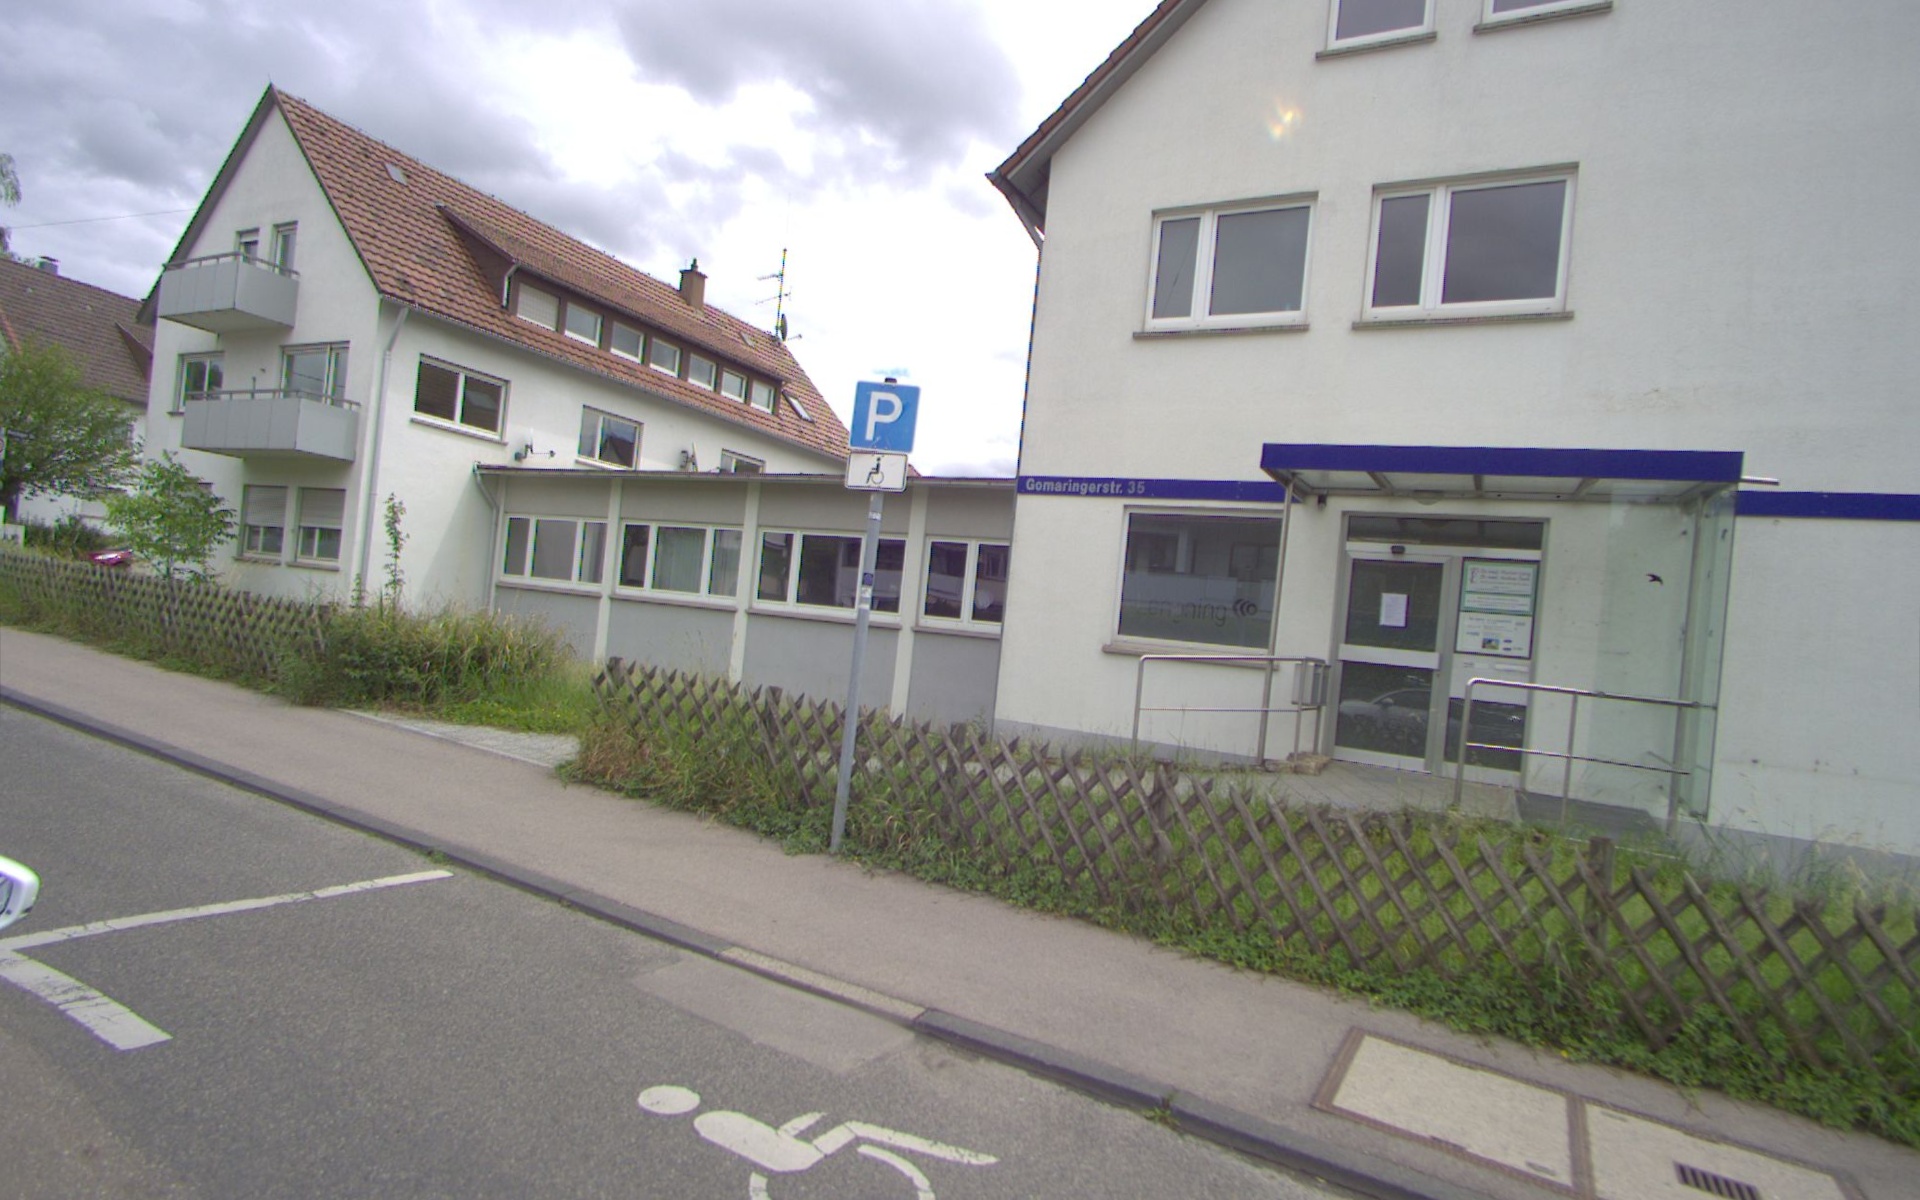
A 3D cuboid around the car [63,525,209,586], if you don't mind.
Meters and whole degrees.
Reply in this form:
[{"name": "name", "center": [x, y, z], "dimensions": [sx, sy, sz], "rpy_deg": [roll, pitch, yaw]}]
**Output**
[{"name": "car", "center": [-29.702, -1.559, 36.411], "dimensions": [1.655, 1.580, 3.716], "rpy_deg": [5, -4, 15]}]
